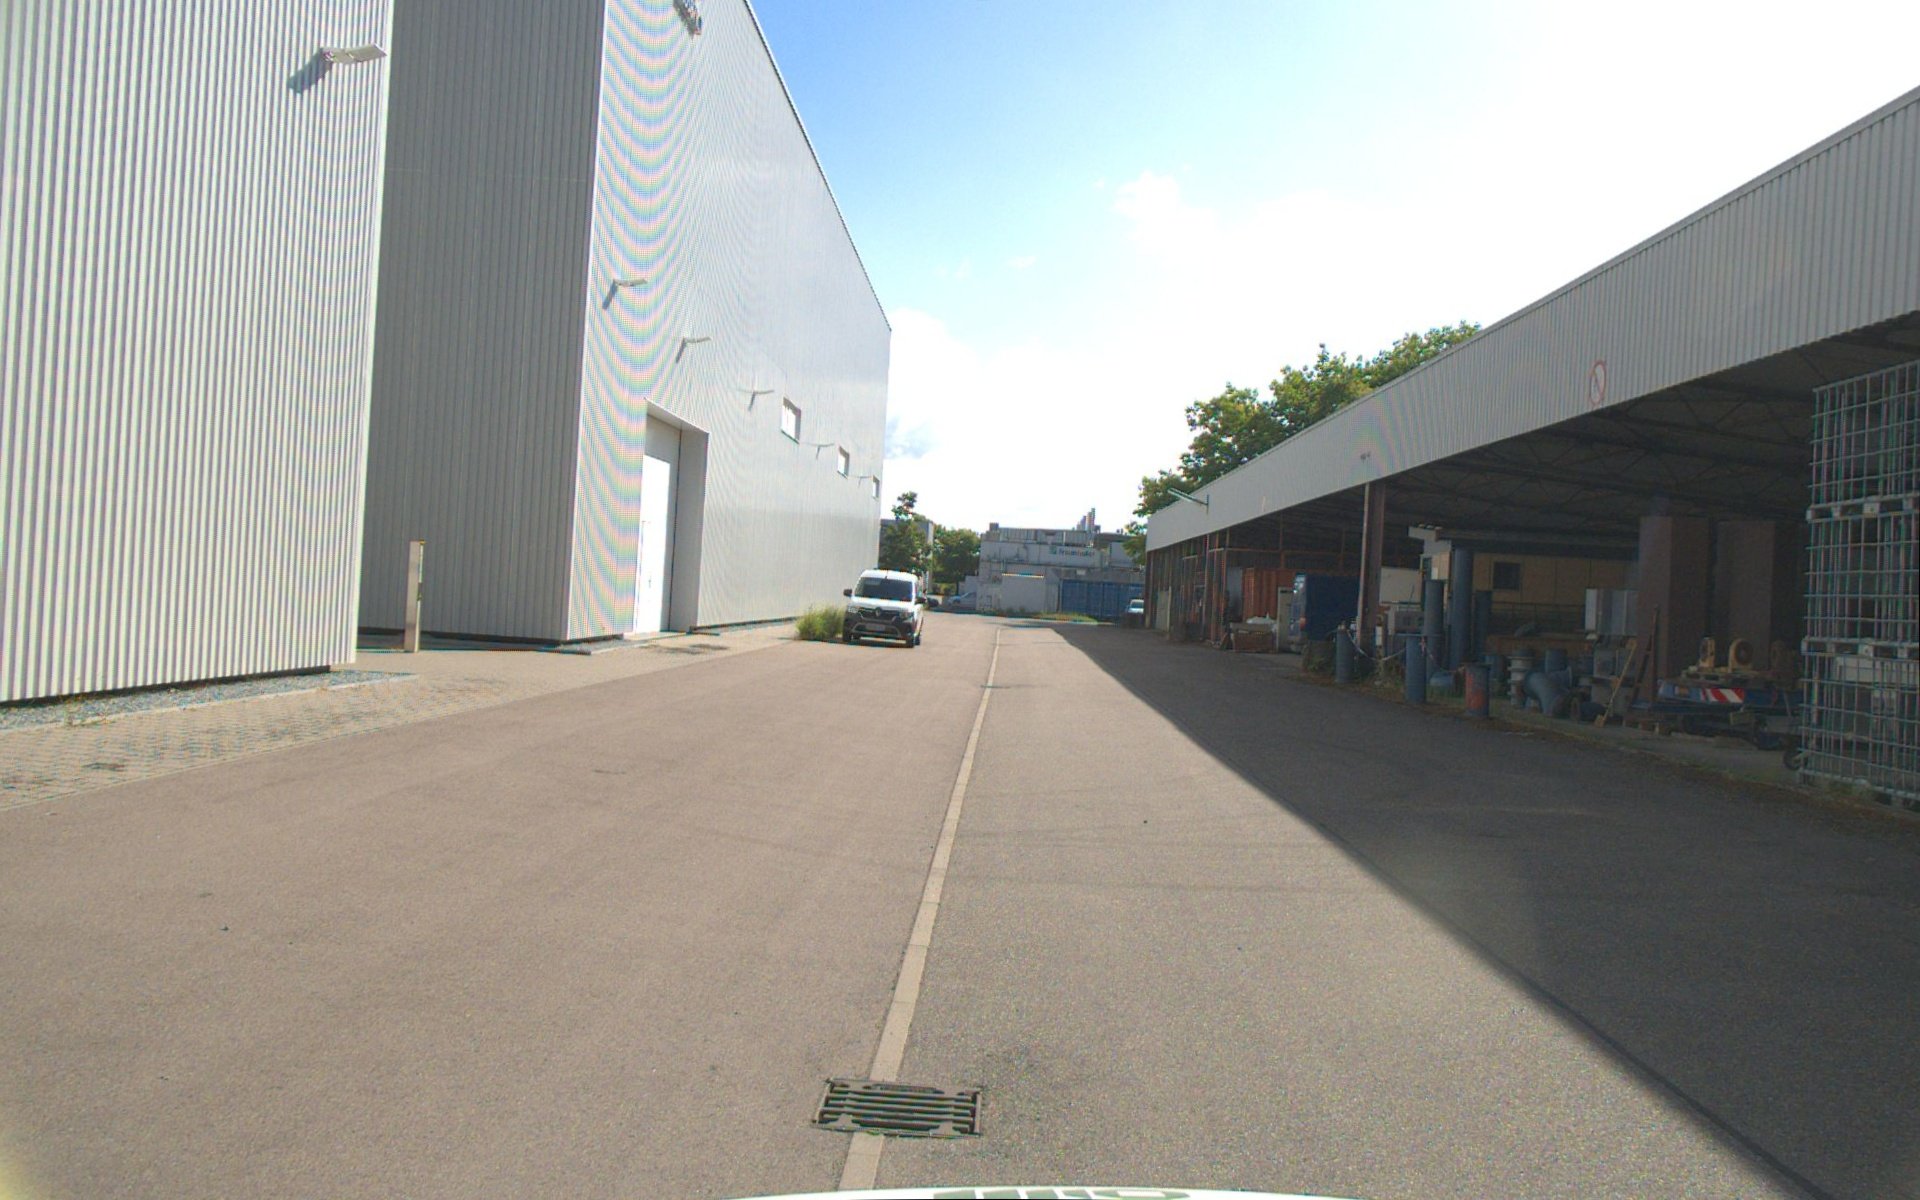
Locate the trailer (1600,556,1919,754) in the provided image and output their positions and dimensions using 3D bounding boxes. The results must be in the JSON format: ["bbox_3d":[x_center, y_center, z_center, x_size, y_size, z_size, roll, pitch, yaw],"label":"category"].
[{"bbox_3d":[10.769,0.676,19.400,5.646,2.067,2.078,3,0,3],"label":"trailer"}]

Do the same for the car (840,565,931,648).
[{"bbox_3d":[-1.812,0.127,41.463,1.781,1.818,4.406,5,1,2],"label":"car"}]

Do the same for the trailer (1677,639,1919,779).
[{"bbox_3d":[10.360,1.126,16.200,5.728,1.153,2.141,3,0,-1],"label":"trailer"}]

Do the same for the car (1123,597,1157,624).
[{"bbox_3d":[12.052,0.691,110.938,1.921,1.591,4.061,5,1,3],"label":"car"}]

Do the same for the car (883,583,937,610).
[{"bbox_3d":[-3.735,-0.232,123.780,3.906,1.625,1.741,5,-2,0],"label":"car"}]

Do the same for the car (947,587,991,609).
[{"bbox_3d":[0.790,-0.194,151.558,3.906,1.625,1.848,5,-2,0],"label":"car"}]

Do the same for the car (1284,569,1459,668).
[{"bbox_3d":[11.508,0.540,46.441,4.342,2.349,1.916,5,-2,2],"label":"car"}]

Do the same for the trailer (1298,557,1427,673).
[{"bbox_3d":[9.140,0.345,37.712,2.471,2.440,1.727,3,-1,2],"label":"trailer"}]
